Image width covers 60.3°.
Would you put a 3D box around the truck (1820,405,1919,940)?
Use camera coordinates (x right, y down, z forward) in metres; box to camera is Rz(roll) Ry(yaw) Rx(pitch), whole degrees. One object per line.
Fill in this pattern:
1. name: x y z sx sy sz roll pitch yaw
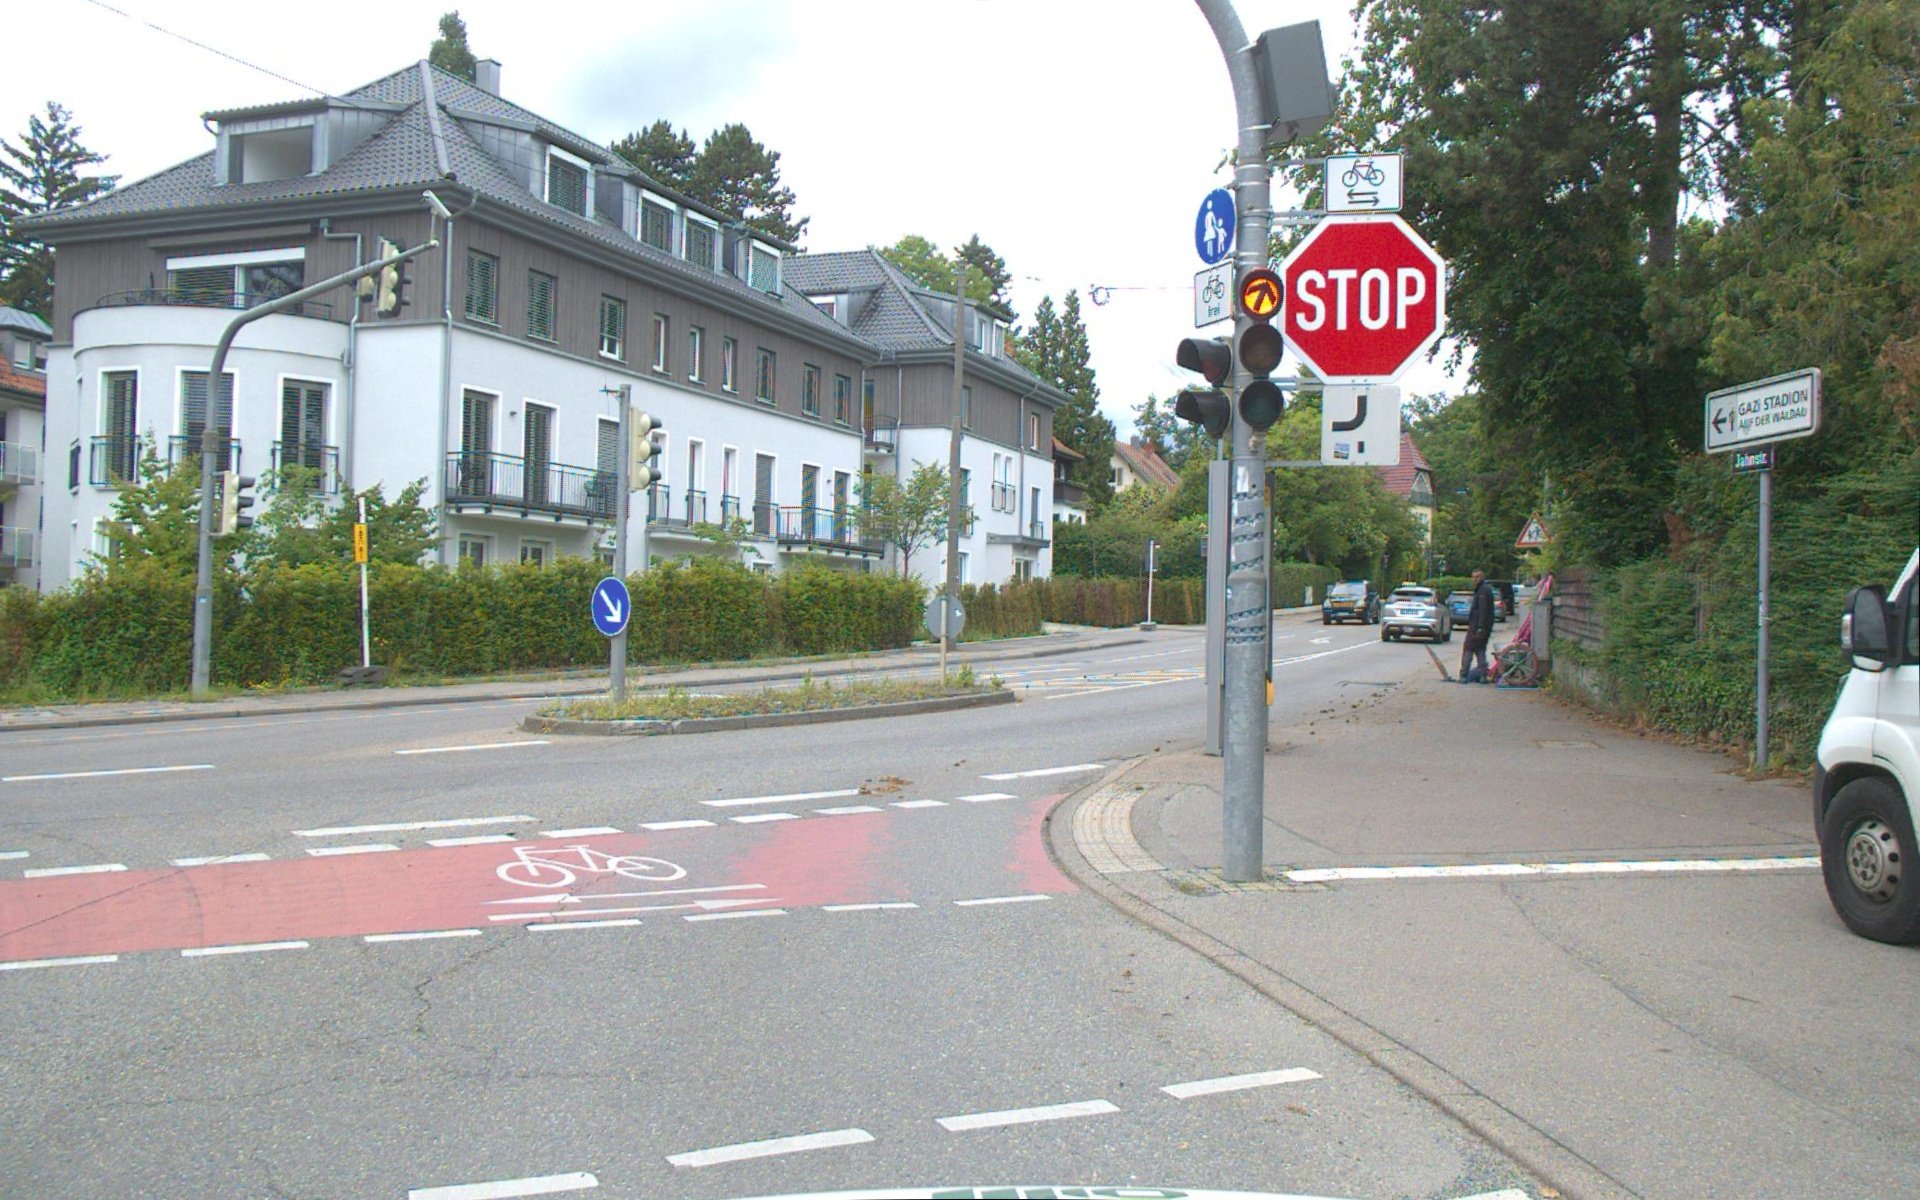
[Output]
1. truck: 5.140 0.322 5.015 2.162 2.283 5.724 1 0 1

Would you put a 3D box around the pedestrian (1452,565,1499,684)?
1. pedestrian: 8.564 0.399 27.473 0.584 1.940 0.558 1 0 0

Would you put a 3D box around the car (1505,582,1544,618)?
1. car: 31.818 -0.031 93.175 1.879 1.927 4.909 2 1 20

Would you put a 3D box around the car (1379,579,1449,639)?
1. car: 14.059 0.262 51.041 1.770 1.784 4.488 -1 0 19

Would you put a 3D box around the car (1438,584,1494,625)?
1. car: 20.042 0.153 65.427 1.763 1.553 4.743 -1 0 21

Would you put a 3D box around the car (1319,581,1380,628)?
1. car: 16.758 0.205 71.005 1.873 1.913 5.142 -1 -1 21

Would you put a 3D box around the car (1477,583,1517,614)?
1. car: 25.875 -0.088 79.644 1.659 1.455 3.749 -1 0 20
